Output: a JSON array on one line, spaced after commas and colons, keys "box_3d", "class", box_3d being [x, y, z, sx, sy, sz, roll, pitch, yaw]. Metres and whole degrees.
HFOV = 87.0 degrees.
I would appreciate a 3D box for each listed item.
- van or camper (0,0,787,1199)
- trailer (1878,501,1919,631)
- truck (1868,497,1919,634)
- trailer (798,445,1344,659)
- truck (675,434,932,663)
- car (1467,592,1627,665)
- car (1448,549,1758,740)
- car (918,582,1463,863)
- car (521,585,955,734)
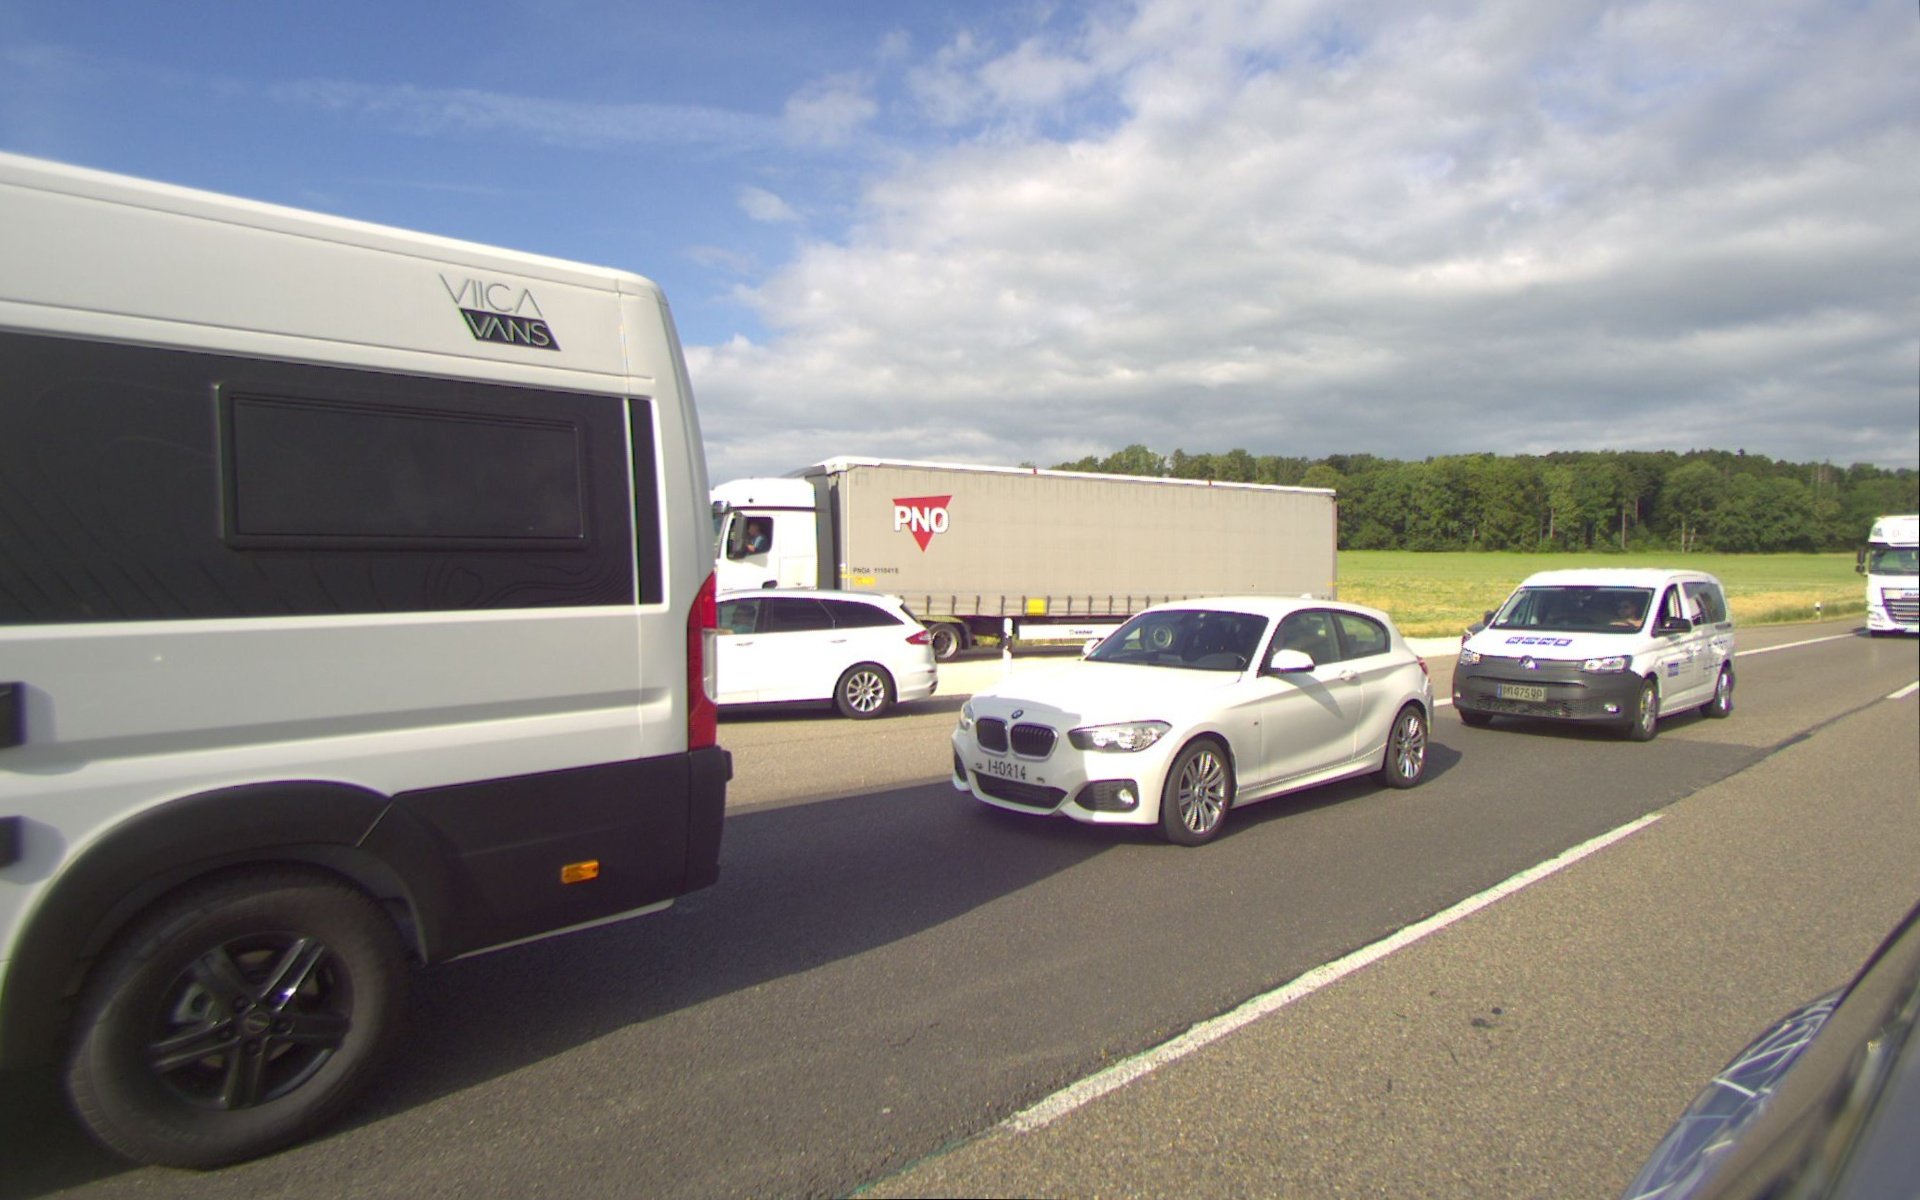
[{"box_3d": [-3.646, 0.000, 2.211, 6.222, 2.714, 2.219, 0, 1, -41], "class": "van or camper"}, {"box_3d": [36.620, -1.239, 37.185, 13.777, 4.212, 2.739, -1, 1, -41], "class": "trailer"}, {"box_3d": [31.955, -1.127, 33.060, 5.667, 4.226, 2.733, -1, 1, -41], "class": "truck"}, {"box_3d": [3.103, -0.954, 24.070, 13.543, 4.213, 2.748, 0, 0, -26], "class": "trailer"}, {"box_3d": [-3.270, -0.965, 20.949, 4.662, 4.226, 2.727, 0, 0, -26], "class": "truck"}, {"box_3d": [12.251, 0.525, 21.028, 4.112, 1.370, 1.706, 0, 0, -42], "class": "car"}, {"box_3d": [7.490, 0.402, 11.593, 4.620, 1.779, 1.727, 0, 0, -41], "class": "car"}, {"box_3d": [1.843, 0.614, 7.254, 4.158, 1.450, 1.706, 0, 0, -41], "class": "car"}, {"box_3d": [-2.505, 0.564, 11.568, 4.533, 1.450, 1.876, 0, 0, -21], "class": "car"}]
